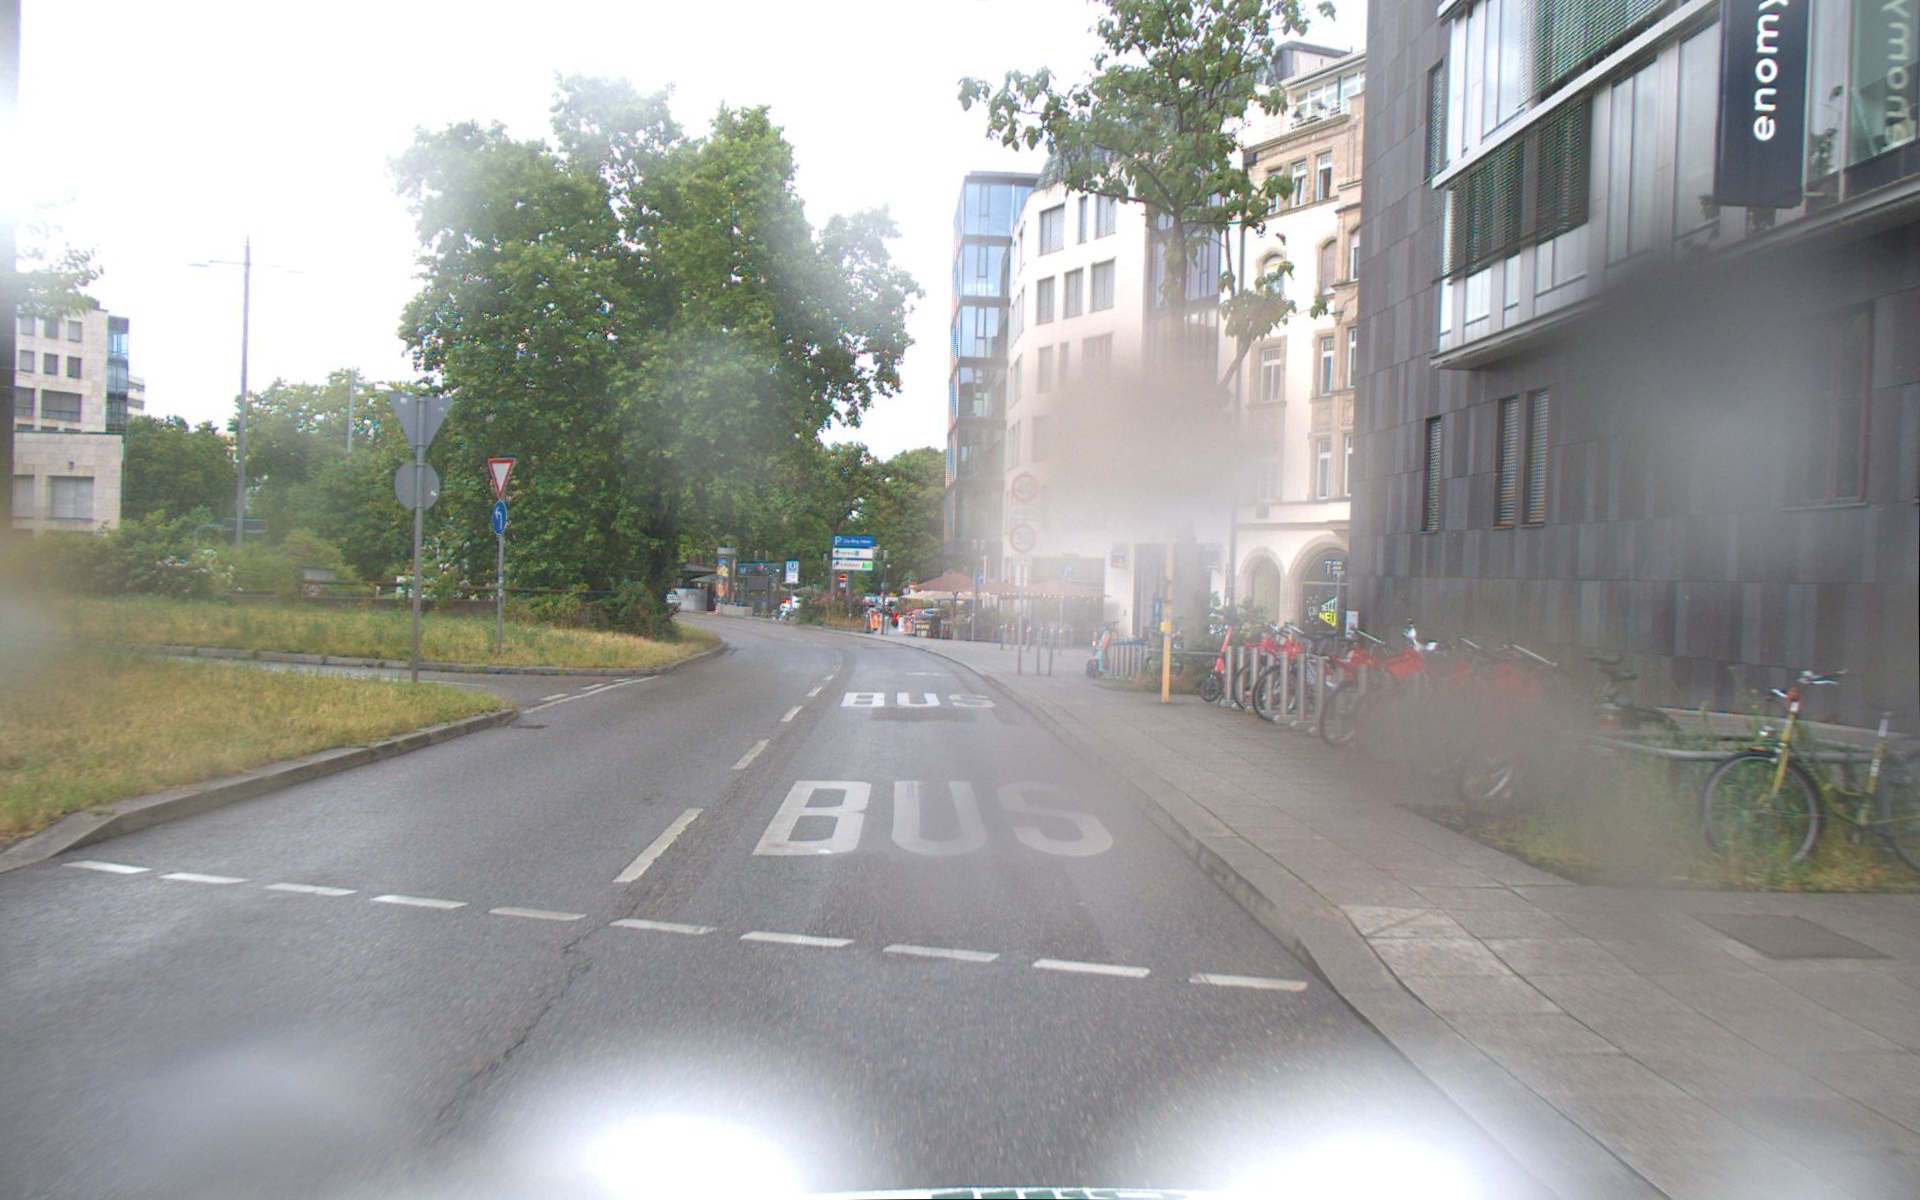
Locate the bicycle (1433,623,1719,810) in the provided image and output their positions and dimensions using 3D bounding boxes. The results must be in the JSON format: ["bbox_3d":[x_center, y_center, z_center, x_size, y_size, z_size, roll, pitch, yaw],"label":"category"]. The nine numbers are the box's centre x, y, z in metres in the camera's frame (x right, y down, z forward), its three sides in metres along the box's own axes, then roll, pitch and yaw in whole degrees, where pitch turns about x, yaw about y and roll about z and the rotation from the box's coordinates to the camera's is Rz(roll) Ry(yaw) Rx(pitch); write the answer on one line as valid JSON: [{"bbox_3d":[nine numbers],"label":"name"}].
[{"bbox_3d":[4.164,0.774,11.223,1.697,1.204,0.688,1,0,-9],"label":"bicycle"}]

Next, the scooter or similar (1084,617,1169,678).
[{"bbox_3d":[3.723,1.071,37.066,1.758,1.265,0.595,3,-2,-8],"label":"scooter or similar"}]

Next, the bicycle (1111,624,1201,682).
[{"bbox_3d":[4.151,1.119,35.096,1.761,1.127,0.669,3,-2,-8],"label":"bicycle"}]

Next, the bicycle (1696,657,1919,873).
[{"bbox_3d":[4.985,0.871,8.992,1.697,1.089,0.688,1,0,-9],"label":"bicycle"}]

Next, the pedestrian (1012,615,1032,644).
[{"bbox_3d":[2.993,1.437,79.814,0.619,1.349,0.630,4,-1,-27],"label":"pedestrian"}]

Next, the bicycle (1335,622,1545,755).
[{"bbox_3d":[4.354,0.797,15.050,1.697,1.160,0.688,1,0,-9],"label":"bicycle"}]

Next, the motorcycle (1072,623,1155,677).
[{"bbox_3d":[3.524,1.145,37.993,1.758,1.159,0.595,3,-2,-8],"label":"motorcycle"}]

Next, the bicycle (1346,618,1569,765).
[{"bbox_3d":[4.251,0.774,14.178,1.697,1.204,0.688,1,0,-9],"label":"bicycle"}]

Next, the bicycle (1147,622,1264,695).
[{"bbox_3d":[4.000,0.947,26.977,1.760,1.087,0.555,3,-2,-7],"label":"bicycle"}]

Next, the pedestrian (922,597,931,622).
[{"bbox_3d":[-2.678,0.771,131.913,0.611,1.967,0.788,2,-1,4],"label":"pedestrian"}]

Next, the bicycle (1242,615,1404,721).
[{"bbox_3d":[4.158,0.779,18.979,1.674,1.160,0.688,2,-1,-9],"label":"bicycle"}]

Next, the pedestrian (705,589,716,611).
[{"bbox_3d":[-19.968,0.035,132.520,0.707,1.731,0.619,1,-1,5],"label":"pedestrian"}]

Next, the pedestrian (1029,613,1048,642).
[{"bbox_3d":[3.737,1.311,78.526,0.619,1.349,0.630,4,-1,-27],"label":"pedestrian"}]

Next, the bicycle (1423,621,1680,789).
[{"bbox_3d":[4.428,0.773,12.421,1.697,1.204,0.688,1,0,-9],"label":"bicycle"}]

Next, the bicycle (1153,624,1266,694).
[{"bbox_3d":[4.193,0.989,27.841,1.760,1.087,0.555,3,-2,-7],"label":"bicycle"}]

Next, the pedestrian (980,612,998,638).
[{"bbox_3d":[1.555,1.321,88.251,0.801,1.349,0.635,4,-1,-7],"label":"pedestrian"}]

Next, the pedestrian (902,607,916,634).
[{"bbox_3d":[-2.663,1.071,86.475,0.594,1.349,0.567,4,-1,-7],"label":"pedestrian"}]

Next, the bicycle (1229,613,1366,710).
[{"bbox_3d":[4.178,0.760,20.526,1.506,1.160,0.688,2,-1,-9],"label":"bicycle"}]

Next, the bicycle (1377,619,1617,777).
[{"bbox_3d":[4.282,0.770,13.243,1.697,1.204,0.688,1,0,-9],"label":"bicycle"}]

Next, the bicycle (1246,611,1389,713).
[{"bbox_3d":[4.261,0.735,19.749,1.506,1.160,0.688,2,-1,-9],"label":"bicycle"}]

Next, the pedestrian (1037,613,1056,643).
[{"bbox_3d":[4.072,1.309,77.733,0.619,1.349,0.630,4,-1,-27],"label":"pedestrian"}]

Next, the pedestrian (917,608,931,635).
[{"bbox_3d":[-1.877,1.138,86.597,0.594,1.349,0.567,4,-1,-7],"label":"pedestrian"}]

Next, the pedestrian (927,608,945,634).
[{"bbox_3d":[-1.274,1.133,88.351,0.801,1.349,0.635,4,-1,-7],"label":"pedestrian"}]

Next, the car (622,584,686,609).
[{"bbox_3d":[-22.496,-0.229,121.651,4.243,1.695,1.953,2,-1,22],"label":"car"}]

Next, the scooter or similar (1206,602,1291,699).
[{"bbox_3d":[3.929,0.687,22.539,1.085,1.280,0.302,2,-2,-10],"label":"scooter or similar"}]

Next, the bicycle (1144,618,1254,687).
[{"bbox_3d":[4.114,0.902,28.519,1.760,1.087,0.555,3,-2,-7],"label":"bicycle"}]

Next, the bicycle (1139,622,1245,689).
[{"bbox_3d":[4.259,1.018,30.410,1.761,1.127,0.669,3,-2,-8],"label":"bicycle"}]

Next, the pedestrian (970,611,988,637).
[{"bbox_3d":[1.034,1.302,88.910,0.801,1.349,0.635,4,-1,-7],"label":"pedestrian"}]

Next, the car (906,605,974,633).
[{"bbox_3d":[-1.438,1.371,117.658,4.640,1.720,2.004,3,0,-3],"label":"car"}]

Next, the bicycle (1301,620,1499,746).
[{"bbox_3d":[4.203,0.788,15.850,1.697,1.160,0.688,1,0,-9],"label":"bicycle"}]

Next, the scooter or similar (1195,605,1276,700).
[{"bbox_3d":[3.816,0.726,22.895,1.041,1.280,0.302,2,-2,-10],"label":"scooter or similar"}]

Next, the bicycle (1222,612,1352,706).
[{"bbox_3d":[4.221,0.761,21.391,1.506,1.160,0.661,2,-1,-9],"label":"bicycle"}]

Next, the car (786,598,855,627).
[{"bbox_3d":[-9.671,0.865,114.825,4.640,1.720,2.004,3,0,-3],"label":"car"}]

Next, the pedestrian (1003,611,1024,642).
[{"bbox_3d":[2.354,1.174,73.273,0.759,1.349,0.635,4,-1,-7],"label":"pedestrian"}]
